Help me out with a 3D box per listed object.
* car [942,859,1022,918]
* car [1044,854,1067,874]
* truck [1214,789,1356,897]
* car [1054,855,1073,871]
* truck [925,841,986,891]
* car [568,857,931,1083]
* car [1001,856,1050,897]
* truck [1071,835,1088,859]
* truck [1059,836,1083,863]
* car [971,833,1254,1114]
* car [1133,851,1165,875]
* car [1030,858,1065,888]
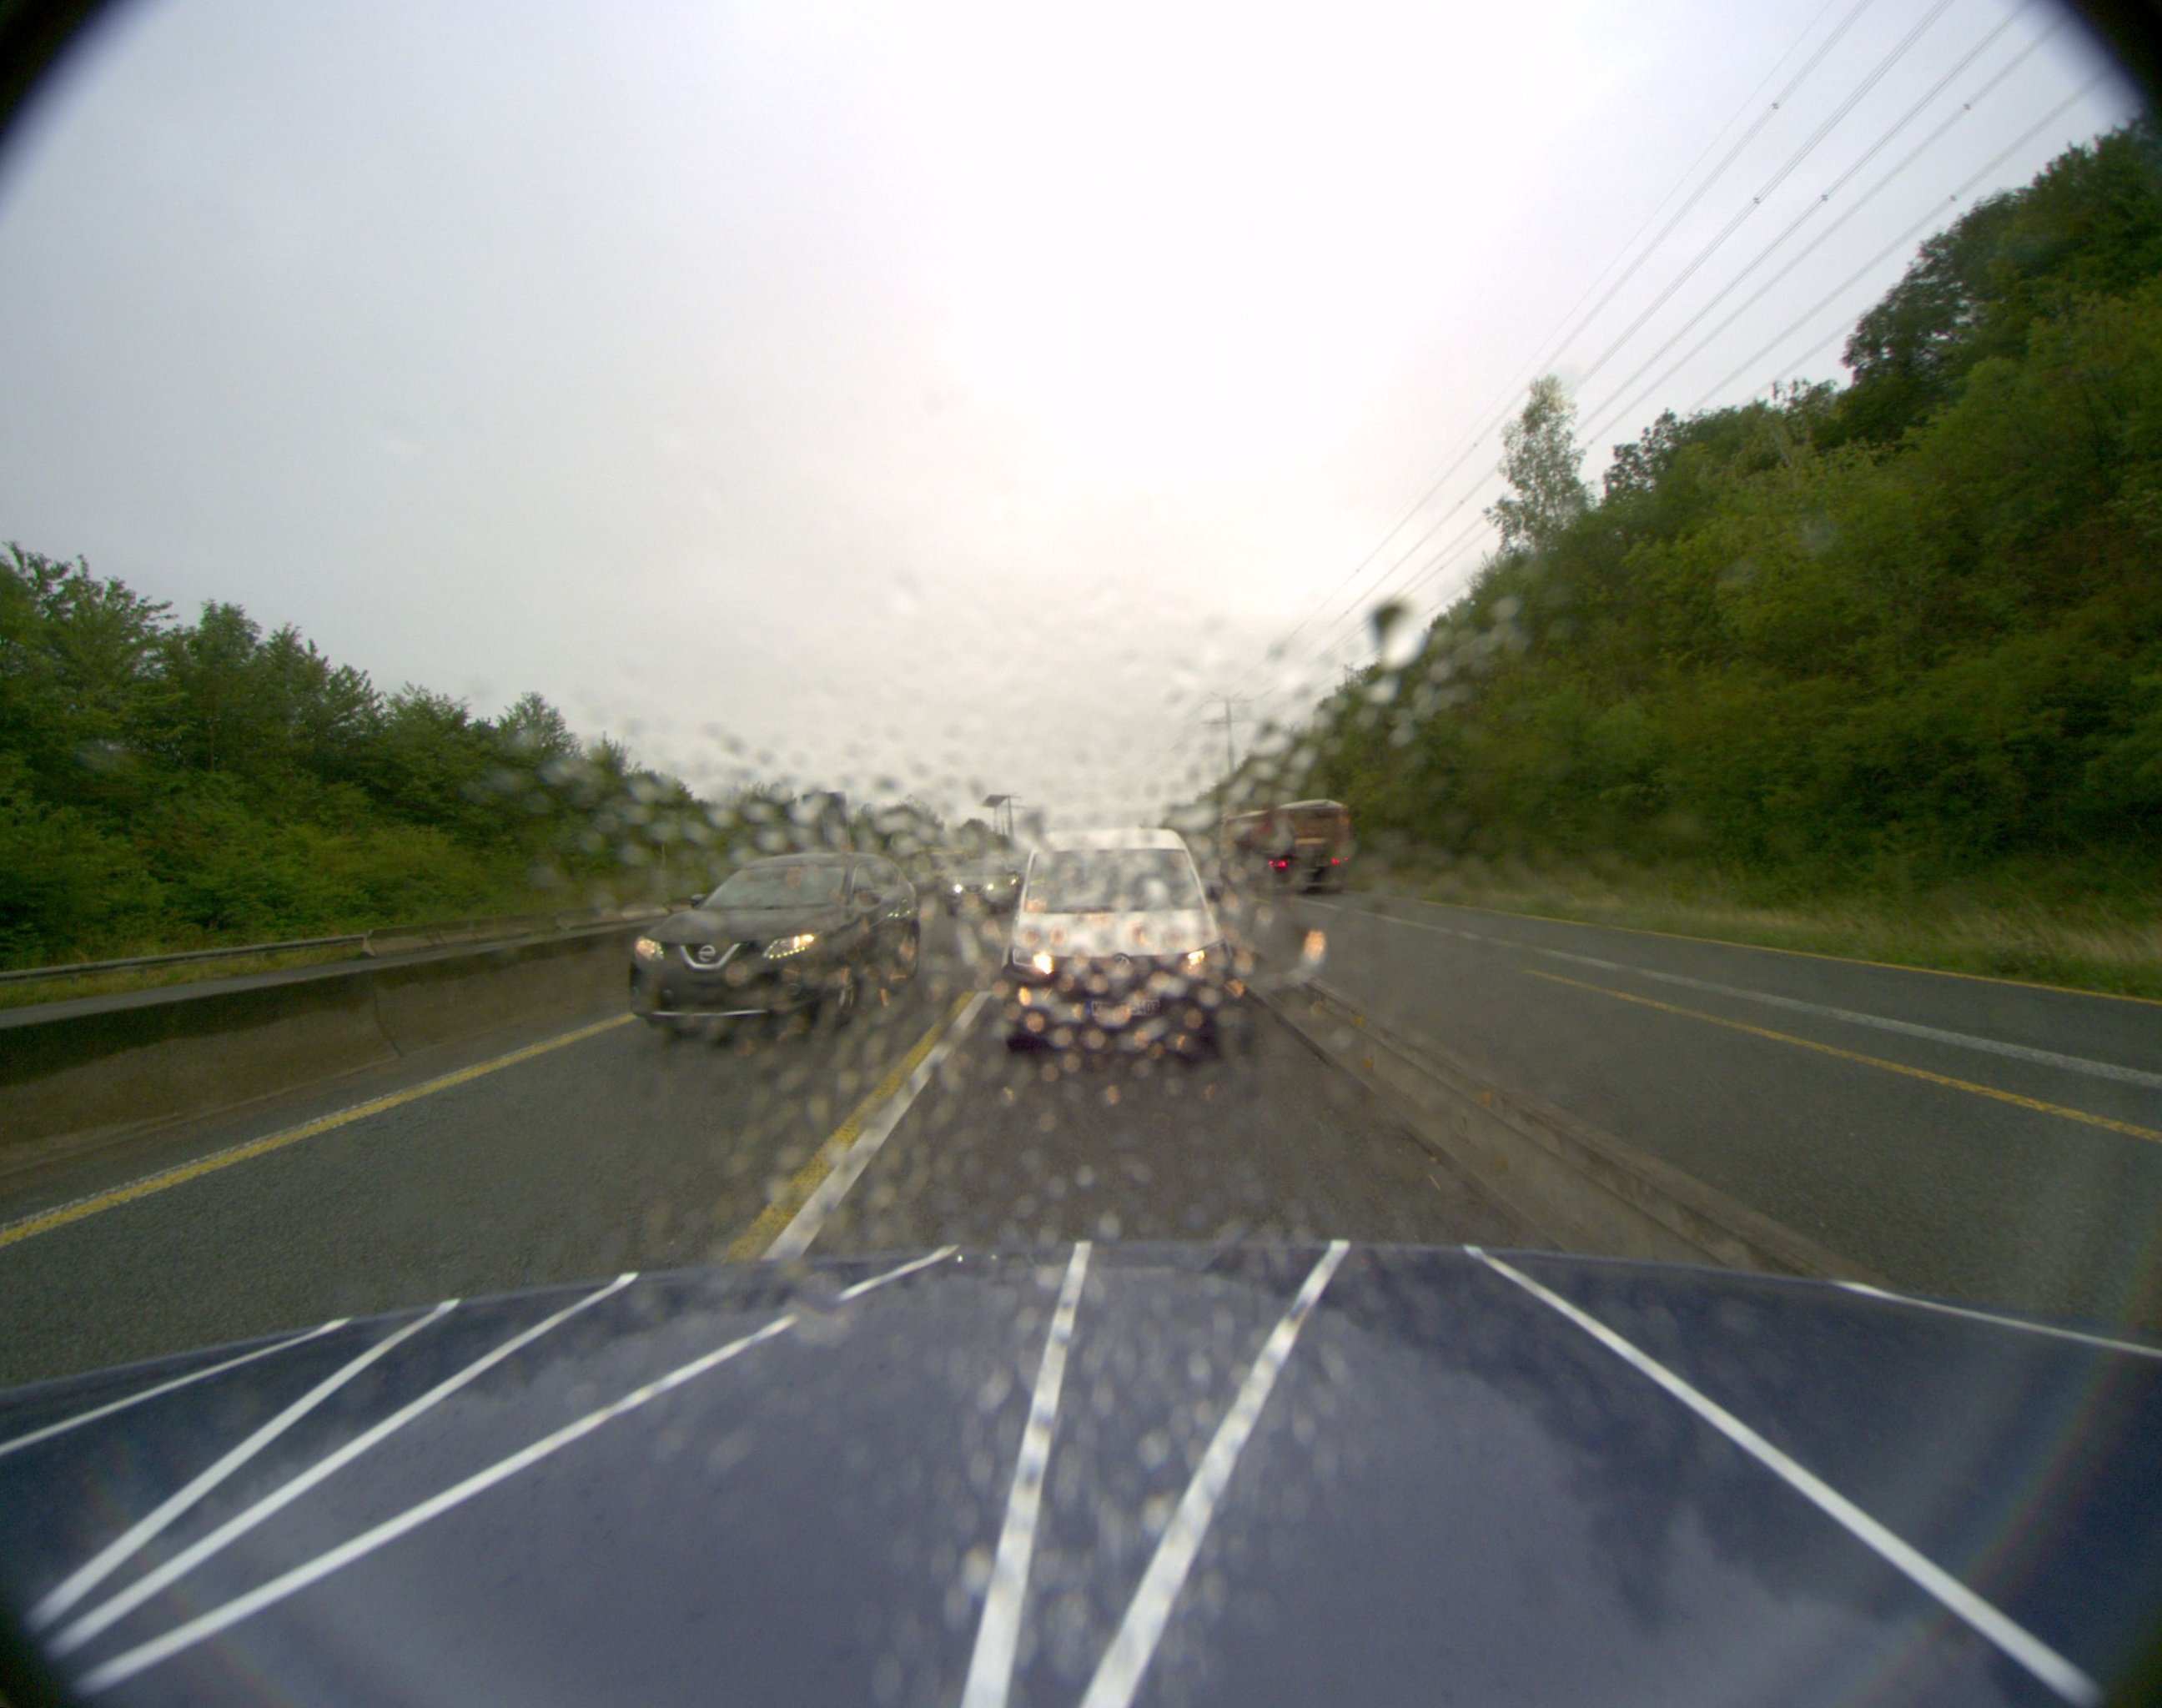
[{"bbox_3d":[-2.862,0.954,22.818,1.784,1.482,4.123,-2,1,0],"label":"car"},{"bbox_3d":[-2.073,0.824,62.830,1.784,1.482,4.123,-2,1,0],"label":"car"},{"bbox_3d":[7.549,-0.409,30.173,2.541,3.333,12.049,-2,1,1],"label":"truck"},{"bbox_3d":[-1.738,0.855,77.846,1.784,1.482,4.123,-2,1,0],"label":"car"},{"bbox_3d":[-9.484,0.790,58.444,2.619,3.404,9.576,-2,1,2],"label":"truck"},{"bbox_3d":[-3.086,0.936,8.362,1.894,1.665,4.640,-2,1,0],"label":"car"},{"bbox_3d":[-2.359,0.920,33.219,1.784,1.589,4.123,-2,1,0],"label":"car"},{"bbox_3d":[-0.248,-1.209,132.129,2.619,3.869,9.574,-2,1,0],"label":"truck"},{"bbox_3d":[-1.308,-0.659,103.712,2.619,3.404,9.575,-2,1,2],"label":"truck"},{"bbox_3d":[0.209,0.756,7.303,1.784,1.775,4.697,-2,1,0],"label":"car"},{"bbox_3d":[4.517,0.571,50.680,1.690,1.401,3.929,-2,1,-1],"label":"car"},{"bbox_3d":[-1.856,1.054,43.397,1.784,1.482,4.123,-2,1,0],"label":"car"}]
